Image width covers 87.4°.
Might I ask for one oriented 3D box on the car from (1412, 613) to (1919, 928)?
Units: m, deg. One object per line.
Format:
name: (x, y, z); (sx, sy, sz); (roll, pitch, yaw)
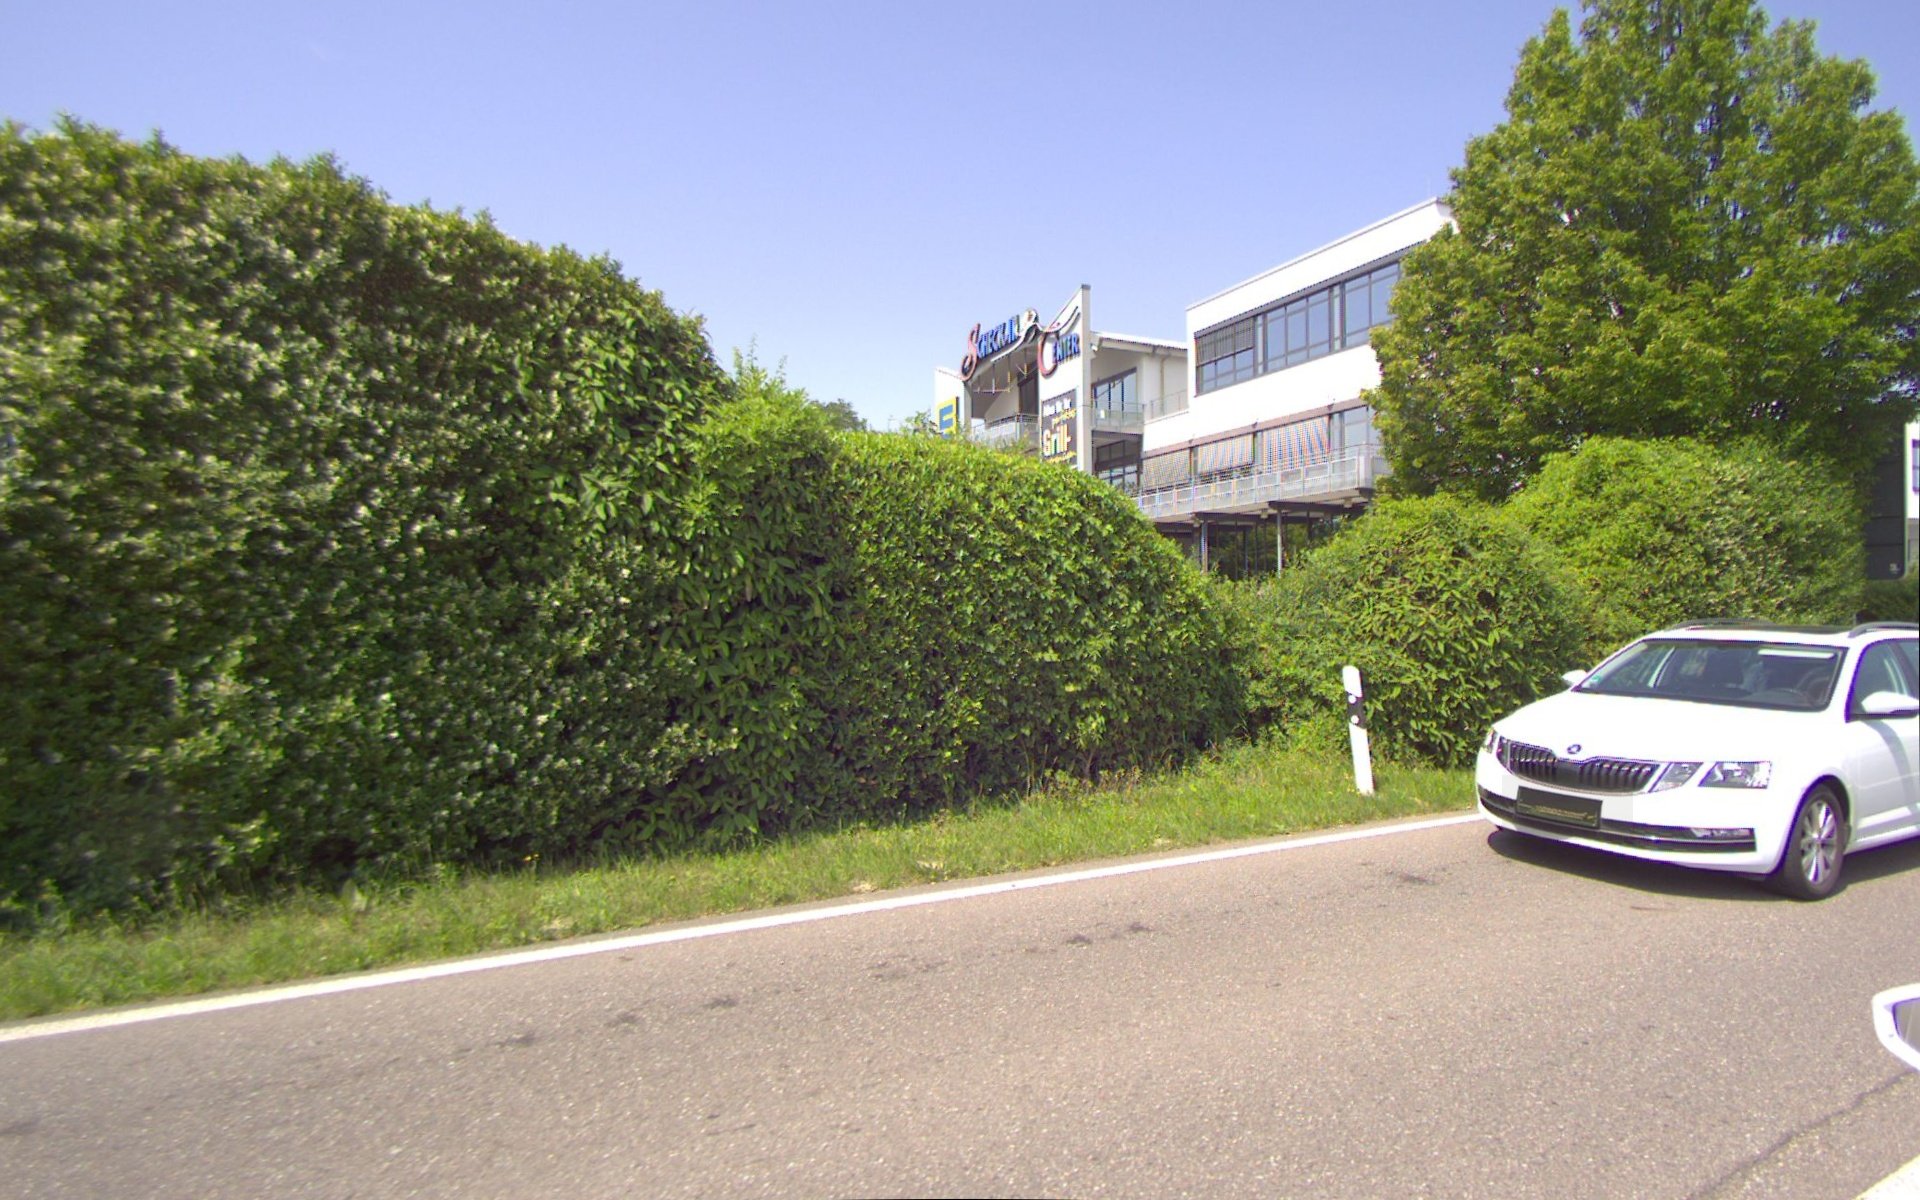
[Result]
car: (5.253, 0.859, 6.750); (4.356, 1.490, 1.820); (1, 0, -29)
